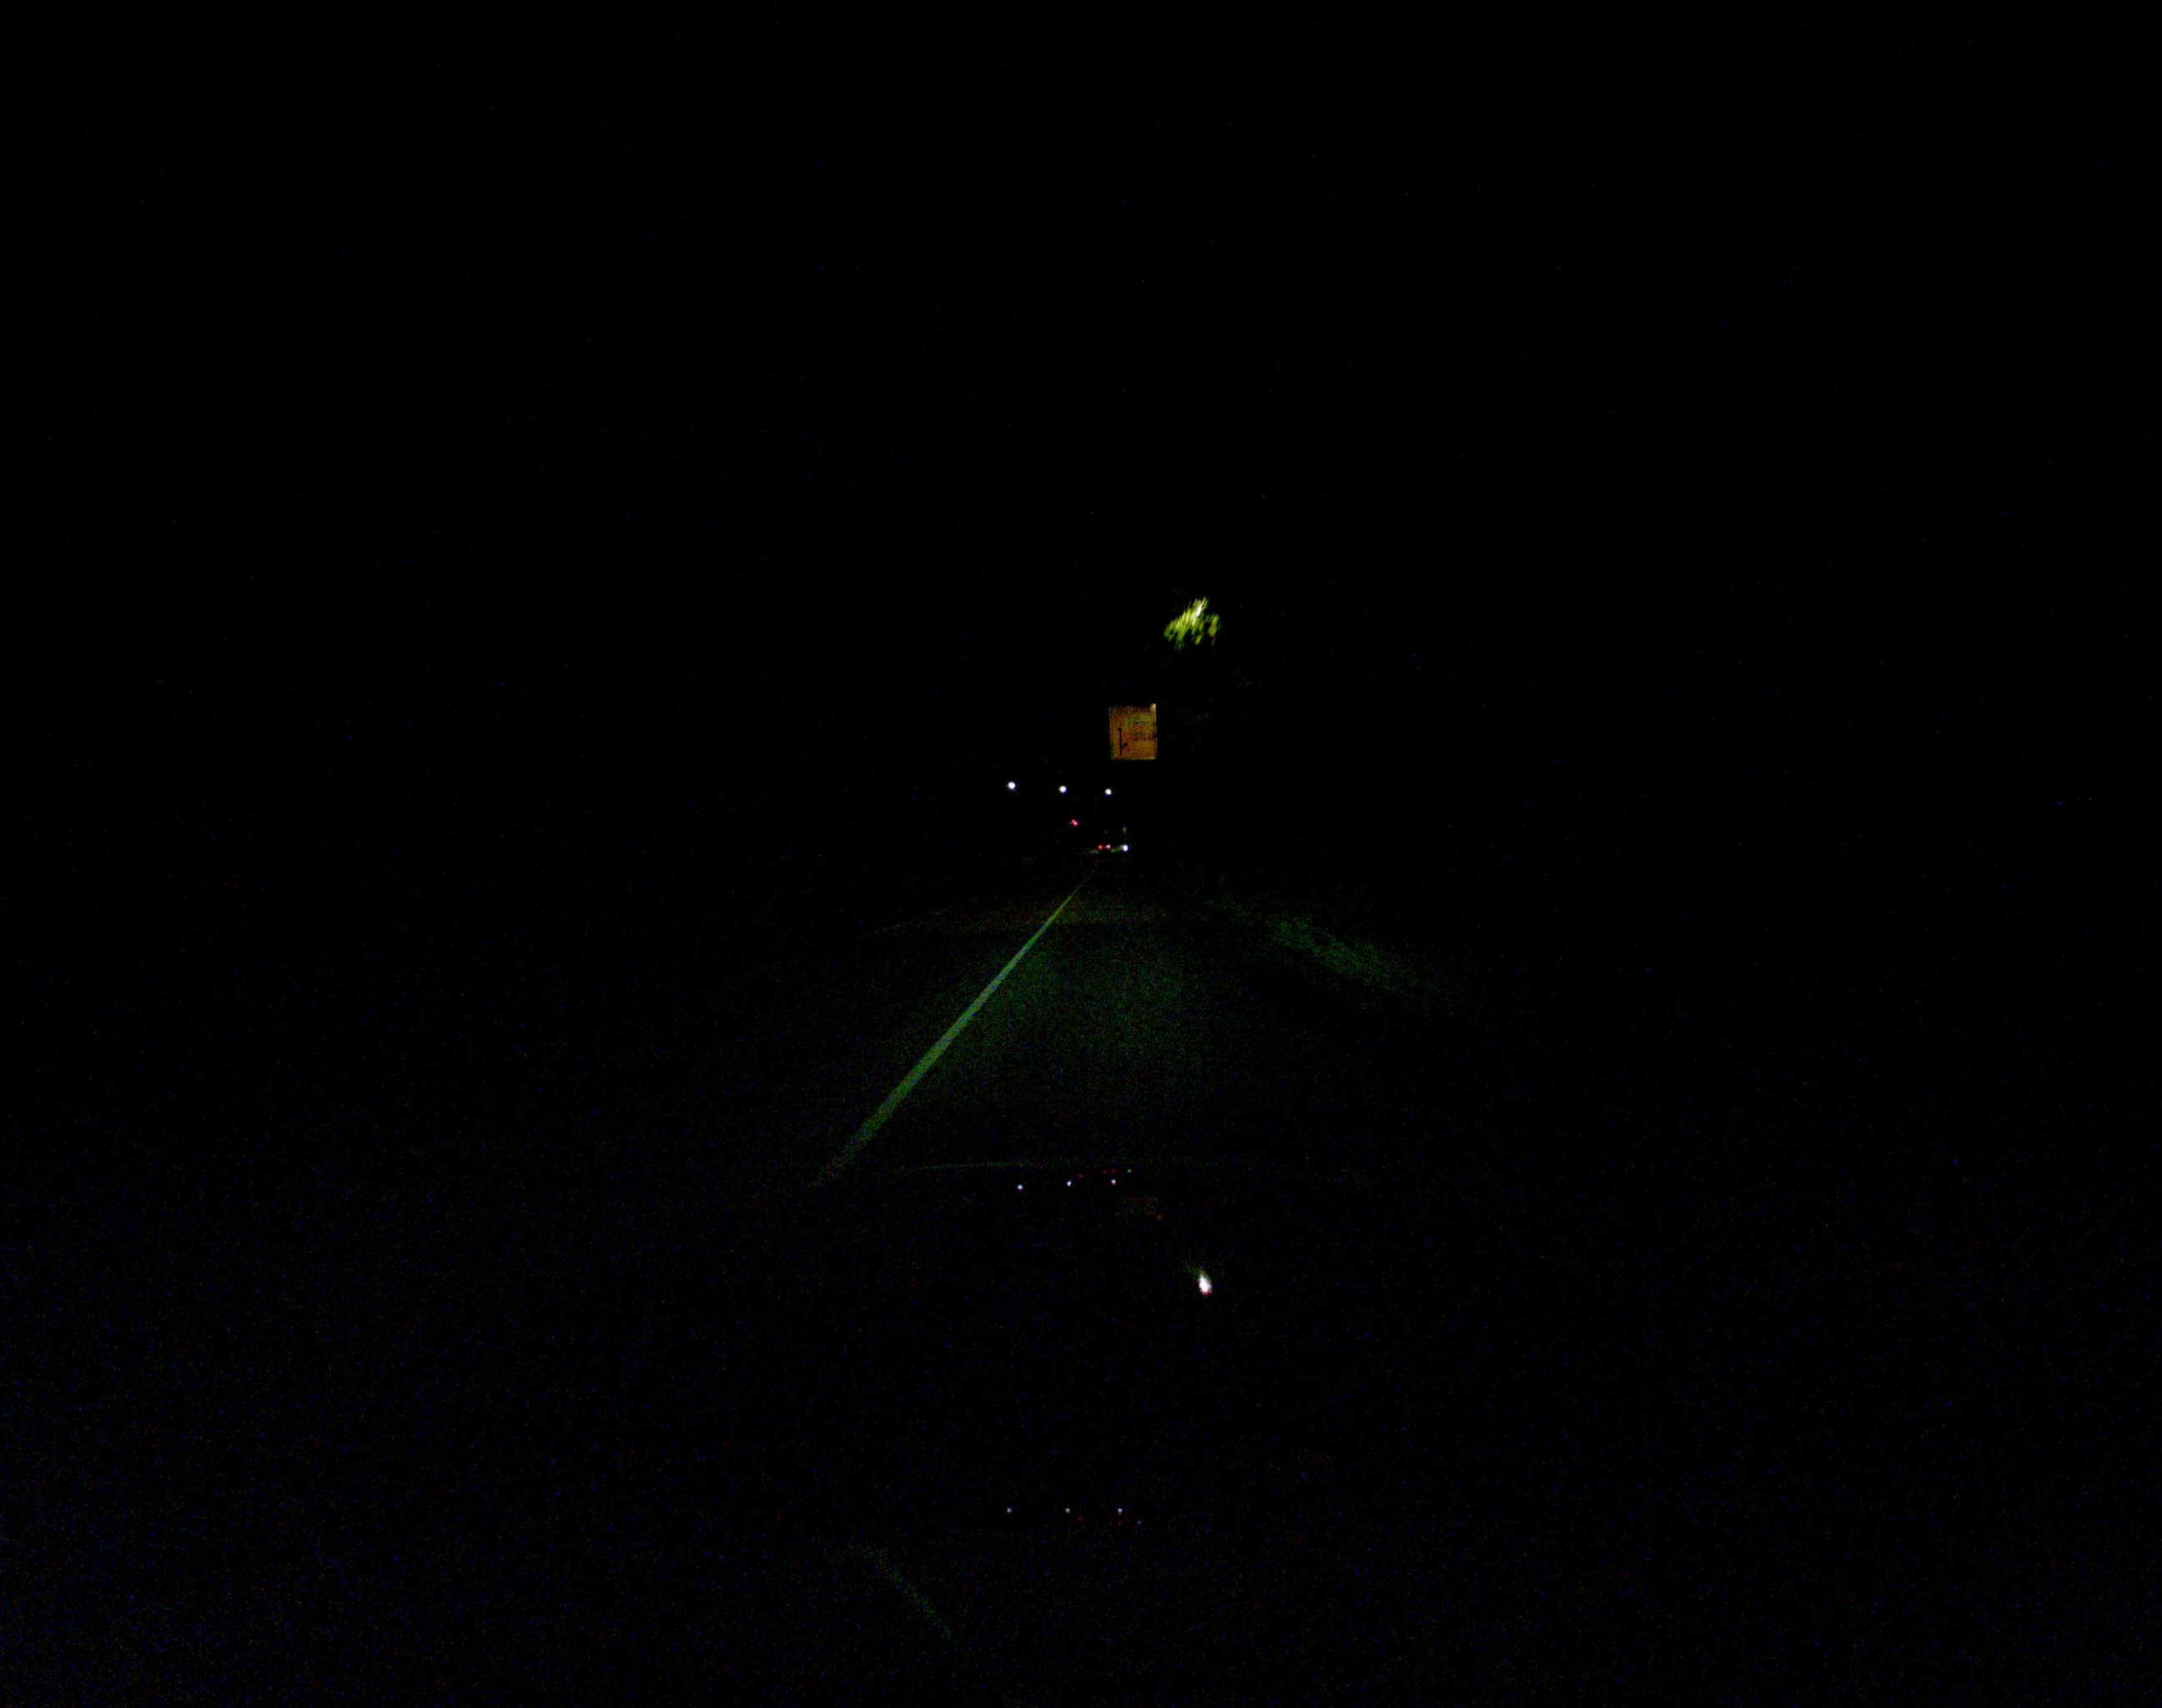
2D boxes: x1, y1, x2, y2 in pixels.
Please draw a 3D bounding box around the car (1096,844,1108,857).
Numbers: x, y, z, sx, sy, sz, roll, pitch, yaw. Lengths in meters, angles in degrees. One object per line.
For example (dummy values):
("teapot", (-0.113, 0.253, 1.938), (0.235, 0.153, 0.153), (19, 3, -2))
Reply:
("car", (3.349, -0.575, 130.464), (1.911, 2.014, 4.124), (0, 0, 2))
